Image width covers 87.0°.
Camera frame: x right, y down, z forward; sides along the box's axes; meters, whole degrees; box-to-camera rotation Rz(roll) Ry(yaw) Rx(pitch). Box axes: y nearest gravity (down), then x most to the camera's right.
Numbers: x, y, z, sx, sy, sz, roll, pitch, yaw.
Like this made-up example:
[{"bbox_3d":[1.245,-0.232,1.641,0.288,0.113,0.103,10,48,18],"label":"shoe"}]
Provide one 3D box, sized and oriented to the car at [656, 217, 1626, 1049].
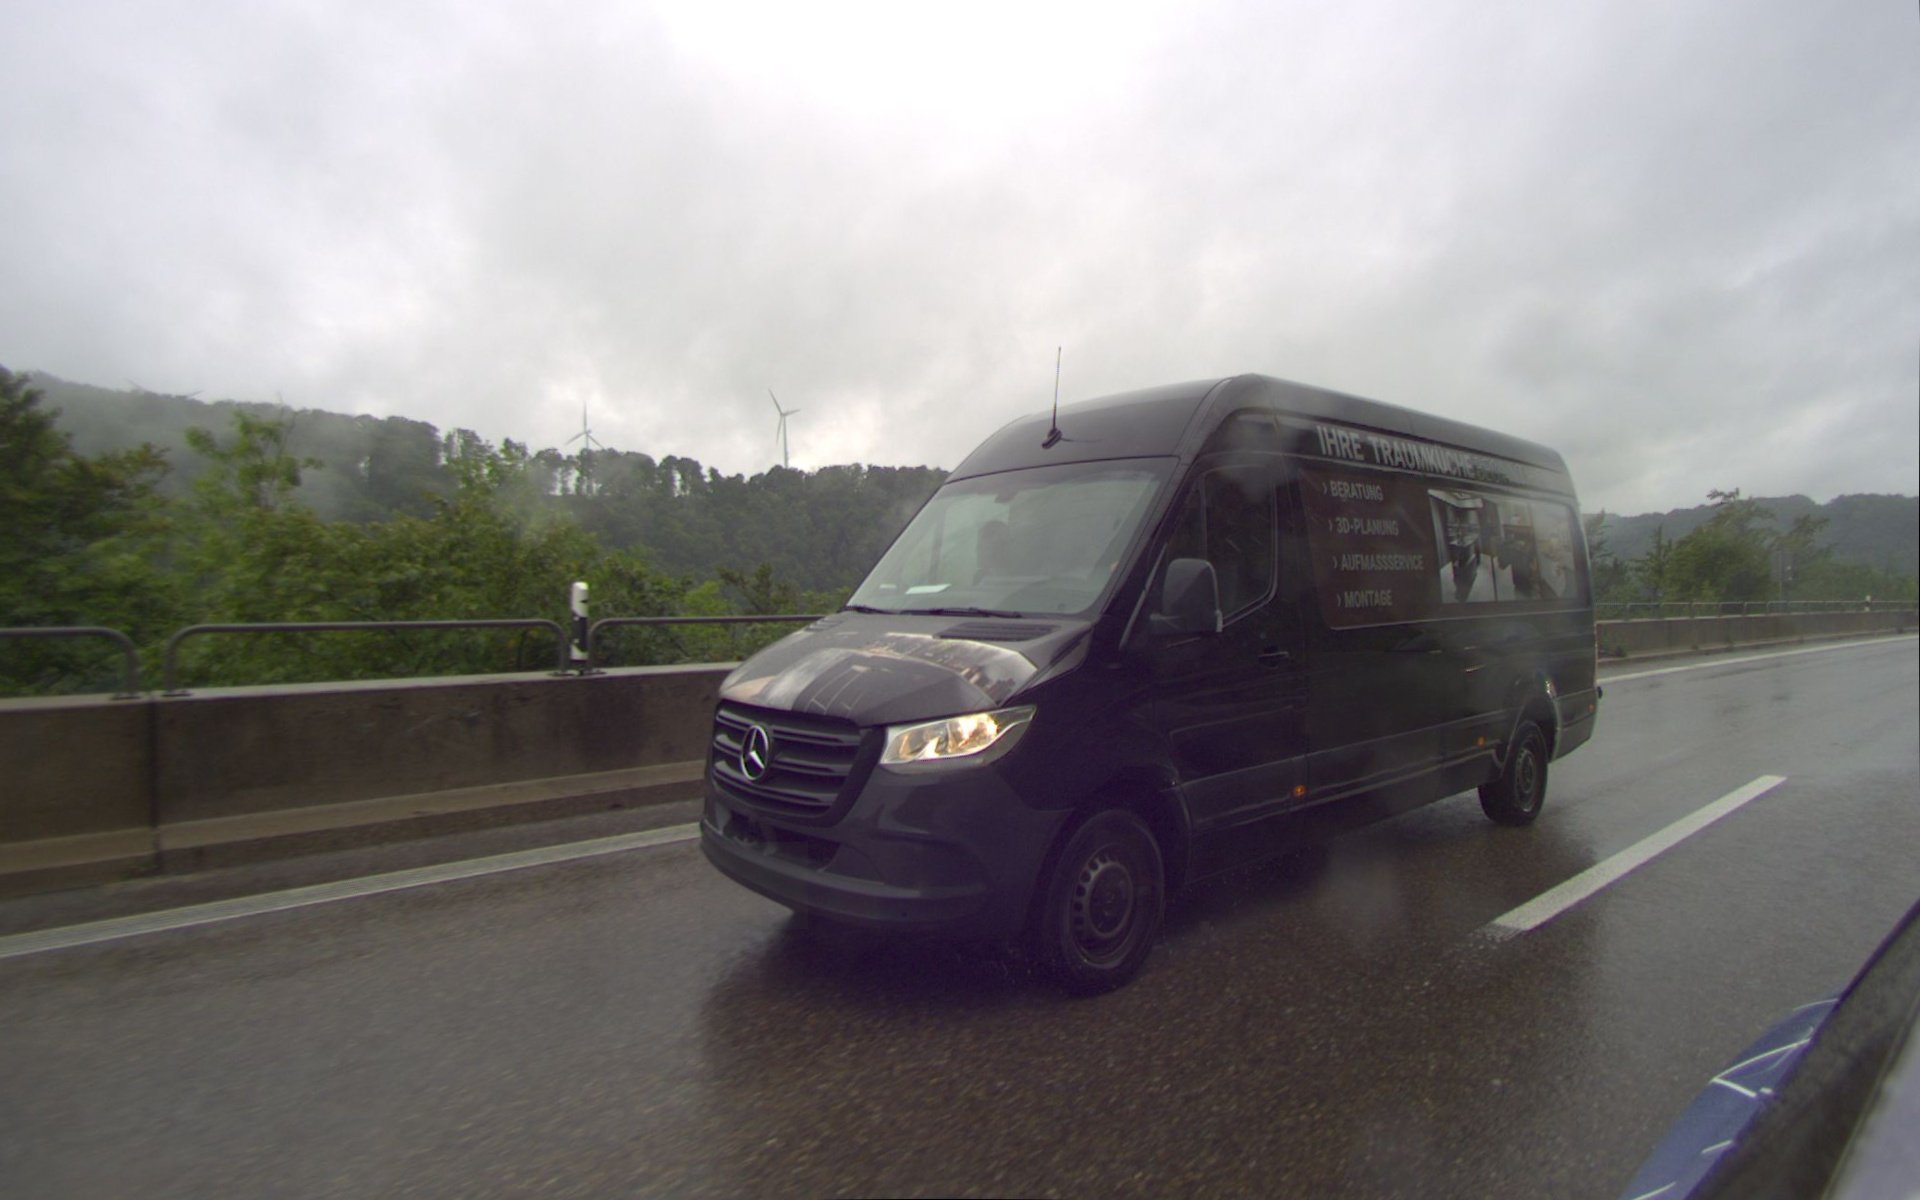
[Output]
[{"bbox_3d":[1.754,0.072,6.011,6.588,2.525,1.997,0,1,-41],"label":"car"}]
